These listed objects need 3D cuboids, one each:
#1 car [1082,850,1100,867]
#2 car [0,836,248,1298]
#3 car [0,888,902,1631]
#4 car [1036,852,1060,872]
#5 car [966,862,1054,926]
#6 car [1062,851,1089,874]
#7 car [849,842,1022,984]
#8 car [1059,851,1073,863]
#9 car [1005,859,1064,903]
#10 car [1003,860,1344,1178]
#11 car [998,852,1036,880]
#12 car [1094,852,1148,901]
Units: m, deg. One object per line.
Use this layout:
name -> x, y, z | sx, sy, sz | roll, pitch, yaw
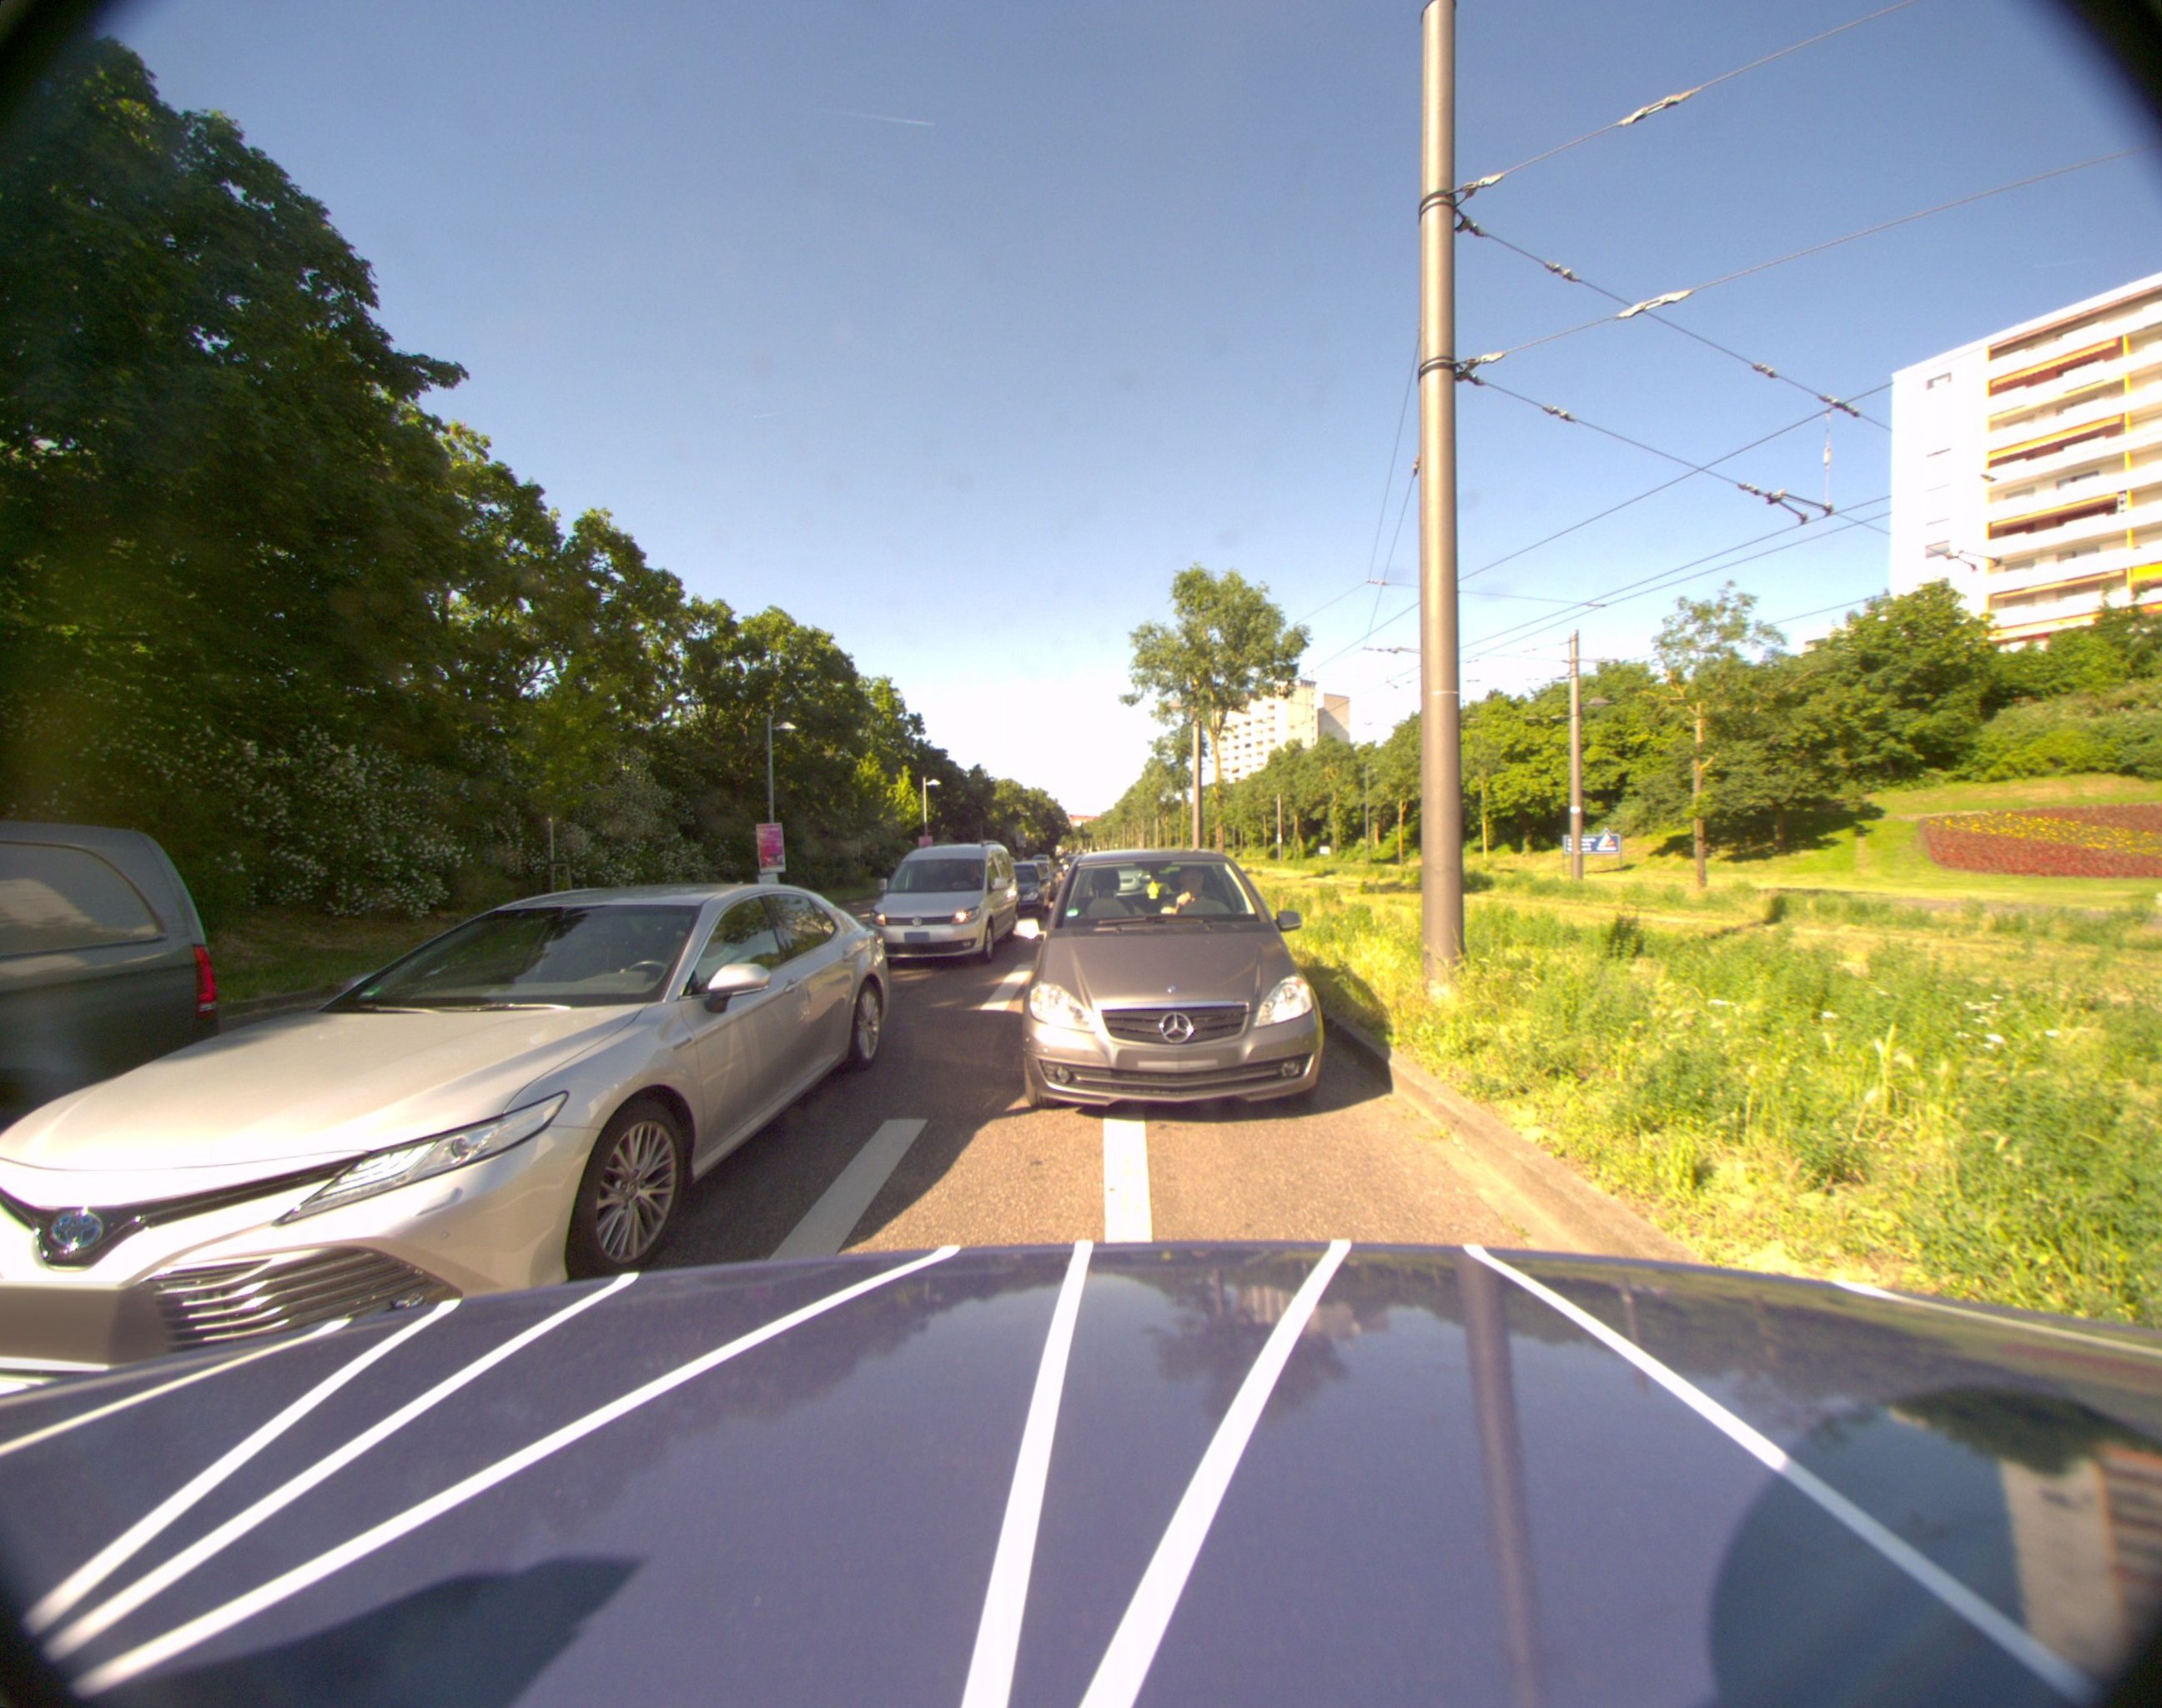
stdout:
car -> 0.979, 0.433, 75.171 | 1.777, 1.597, 4.384 | -1, 0, 1
car -> -5.461, 0.892, 1.431 | 1.998, 1.882, 5.148 | -1, 0, 1
car -> -2.643, 1.042, 4.114 | 2.069, 1.451, 4.749 | -1, 0, 2
car -> -2.738, 0.654, 64.699 | 1.777, 1.597, 4.384 | -1, 0, 1
car -> -1.720, 0.964, 19.708 | 1.776, 1.395, 4.067 | -1, 0, 2
car -> -0.352, 0.570, 54.691 | 1.777, 1.597, 4.384 | -1, 0, 1
car -> -2.151, 0.791, 12.612 | 1.822, 1.893, 4.622 | -1, 0, 2
car -> -1.940, 0.371, 99.031 | 1.777, 1.597, 4.300 | -1, 0, 1
car -> -1.606, 0.909, 27.521 | 1.776, 1.395, 4.067 | -1, 0, 2
car -> 0.517, 0.893, 6.199 | 1.777, 1.597, 4.384 | -1, 0, 1
car -> -3.736, 0.669, 45.120 | 1.777, 1.597, 4.384 | -1, 0, 1
car -> 1.375, 0.749, 27.481 | 1.777, 1.597, 4.384 | -1, 0, 1
